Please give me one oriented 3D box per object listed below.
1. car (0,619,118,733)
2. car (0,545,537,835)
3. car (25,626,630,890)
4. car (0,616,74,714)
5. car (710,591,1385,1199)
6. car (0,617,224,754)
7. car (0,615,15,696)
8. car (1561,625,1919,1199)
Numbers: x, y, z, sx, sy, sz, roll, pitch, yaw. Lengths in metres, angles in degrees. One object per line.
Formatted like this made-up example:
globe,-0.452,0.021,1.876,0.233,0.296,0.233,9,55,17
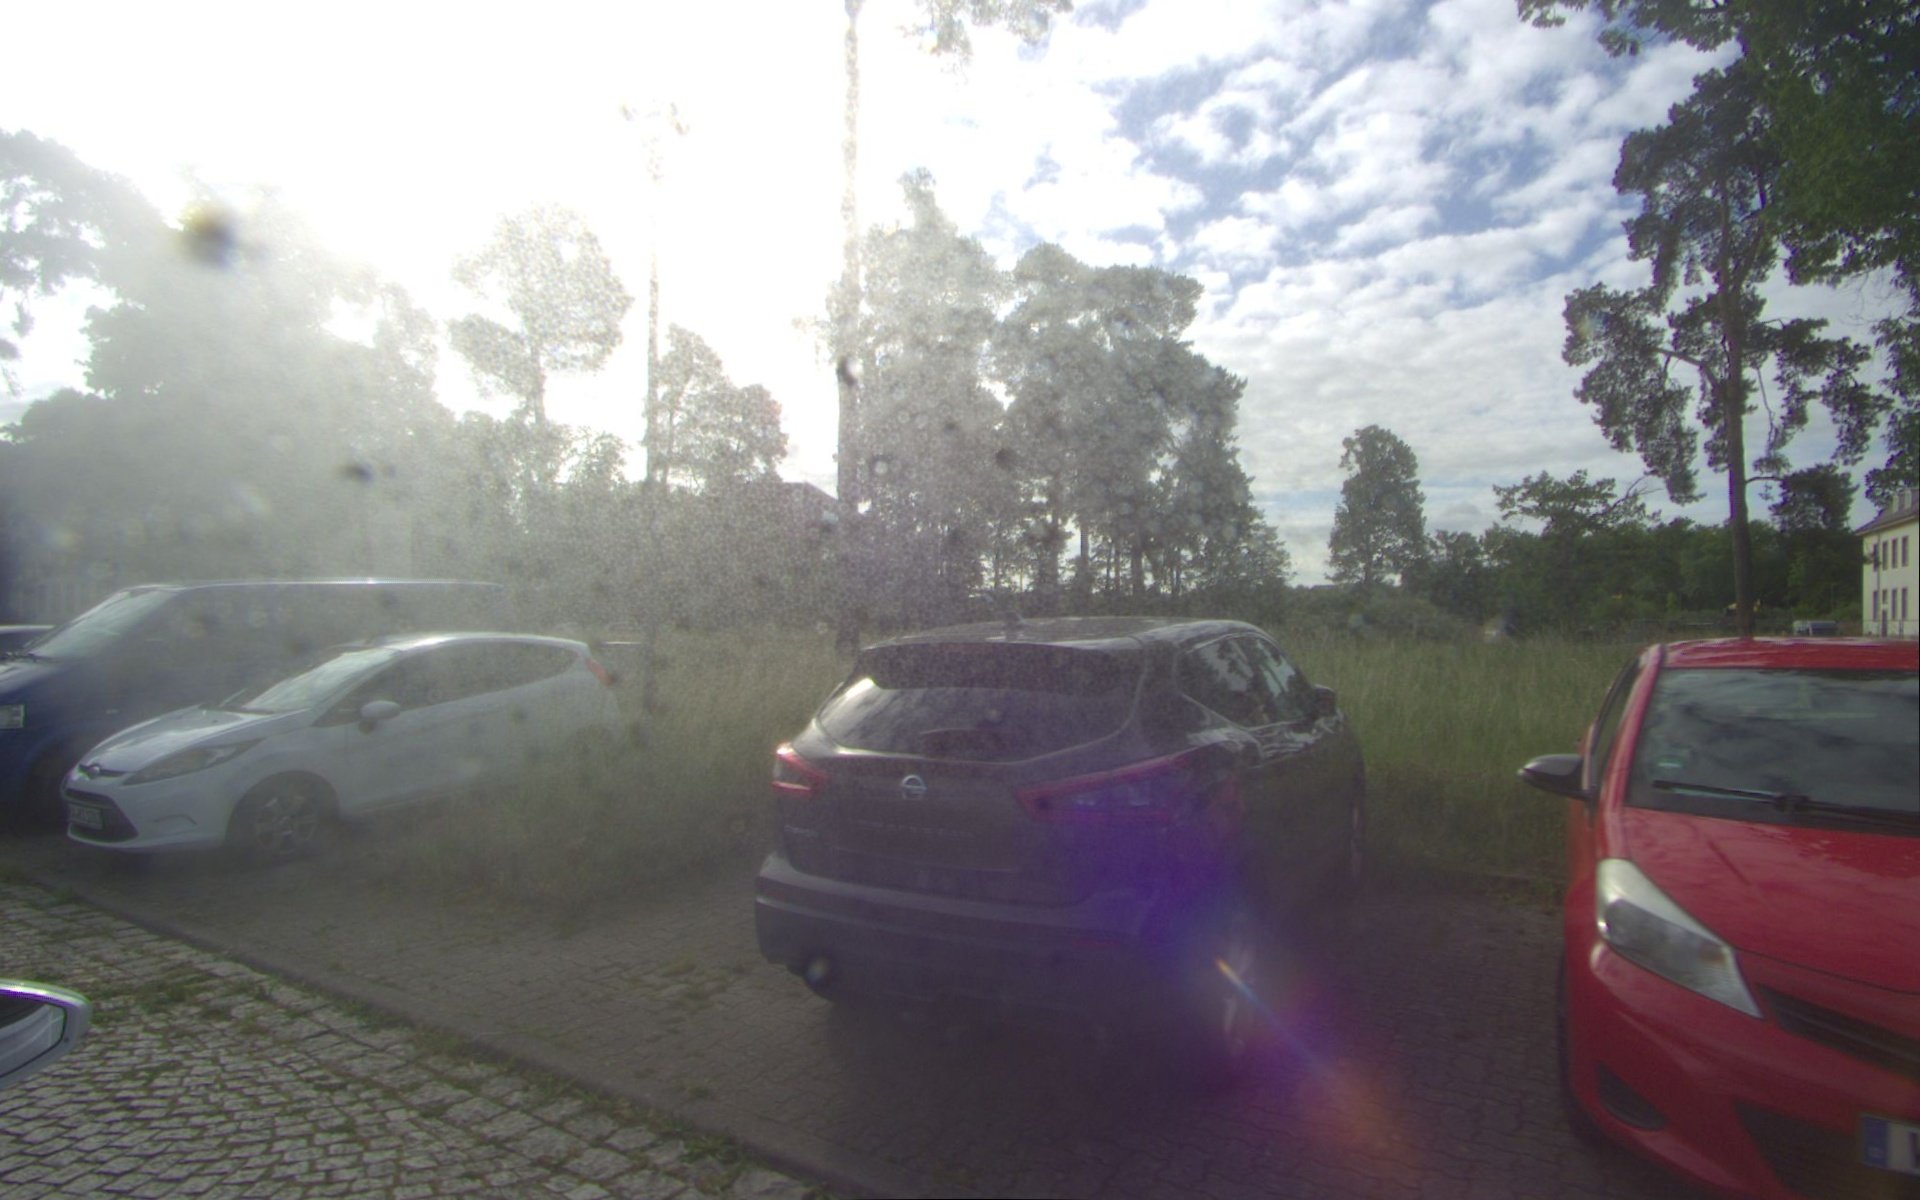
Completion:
car,-13.790,1.018,13.348,1.635,1.526,3.602,0,-1,21
car,-6.565,0.696,9.363,1.712,2.066,4.778,0,-1,29
car,-4.608,0.980,7.893,1.629,1.443,3.718,0,0,29
car,-15.953,1.004,15.251,1.635,1.524,3.296,0,-1,21
car,0.849,0.819,4.793,1.735,1.601,3.946,0,-1,30
car,-11.164,0.974,12.098,1.639,1.524,3.289,0,-1,29
car,-19.979,1.026,18.043,1.637,1.563,3.987,0,-1,26
car,3.188,0.871,3.631,1.713,1.538,3.981,0,-1,31
